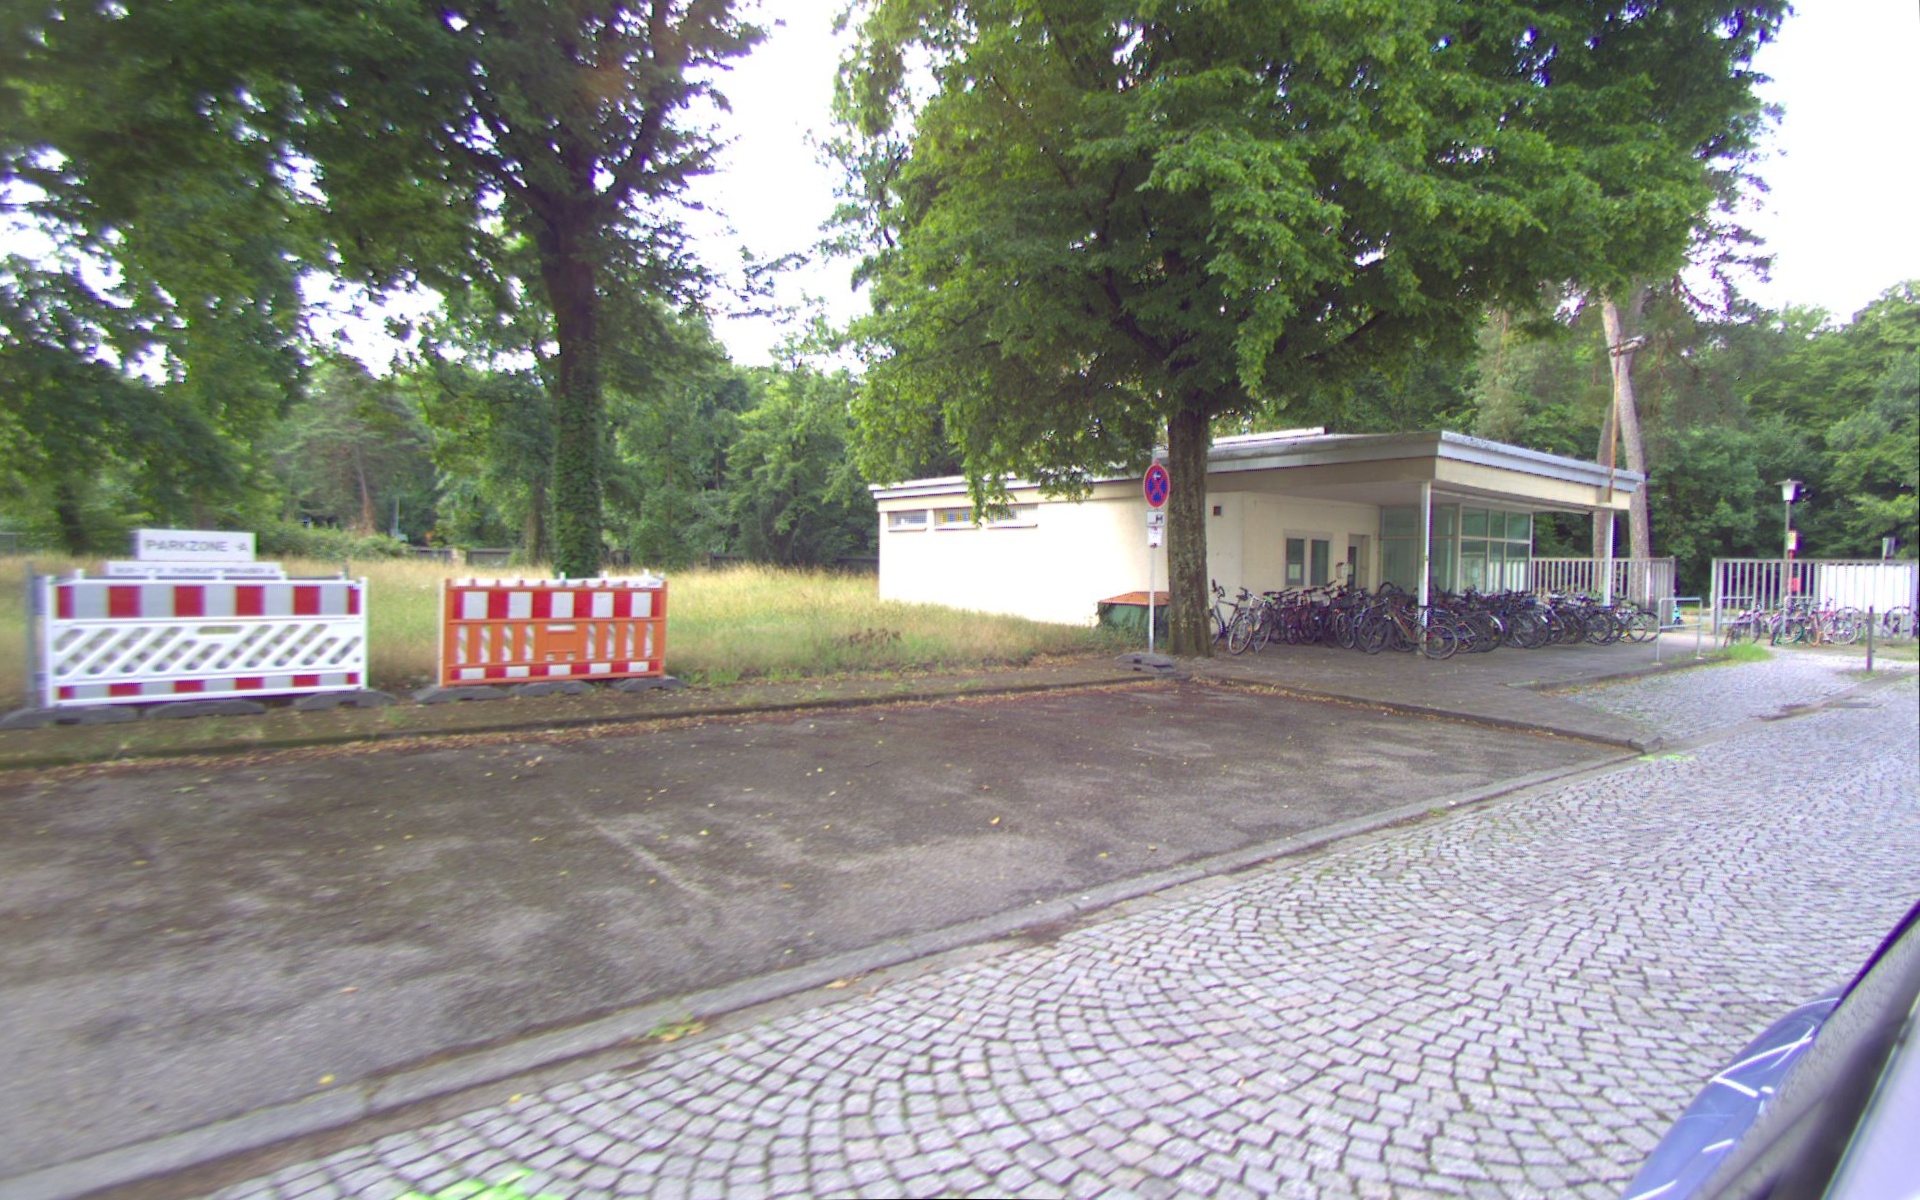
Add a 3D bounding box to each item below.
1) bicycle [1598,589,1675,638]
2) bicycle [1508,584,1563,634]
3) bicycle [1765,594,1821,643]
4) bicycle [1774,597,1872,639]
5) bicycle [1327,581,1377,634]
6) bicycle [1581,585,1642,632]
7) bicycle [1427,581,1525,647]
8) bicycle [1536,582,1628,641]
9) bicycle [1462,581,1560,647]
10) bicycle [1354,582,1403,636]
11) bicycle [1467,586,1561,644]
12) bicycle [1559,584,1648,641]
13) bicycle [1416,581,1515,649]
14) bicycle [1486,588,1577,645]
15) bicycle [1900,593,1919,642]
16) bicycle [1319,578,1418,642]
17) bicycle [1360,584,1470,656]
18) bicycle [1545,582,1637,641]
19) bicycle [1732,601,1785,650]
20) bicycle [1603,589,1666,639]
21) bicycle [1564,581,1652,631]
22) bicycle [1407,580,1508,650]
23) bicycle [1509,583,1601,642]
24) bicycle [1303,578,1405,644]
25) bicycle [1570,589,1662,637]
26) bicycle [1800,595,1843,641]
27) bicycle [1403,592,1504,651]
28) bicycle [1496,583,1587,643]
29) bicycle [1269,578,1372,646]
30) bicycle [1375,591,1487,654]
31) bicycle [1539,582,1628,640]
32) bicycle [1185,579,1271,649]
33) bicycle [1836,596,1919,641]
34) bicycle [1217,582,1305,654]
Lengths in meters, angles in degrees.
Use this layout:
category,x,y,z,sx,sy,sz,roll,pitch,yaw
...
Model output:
category,x,y,z,sx,sy,sz,roll,pitch,yaw
bicycle,15.420,0.299,23.104,1.391,1.059,0.336,1,1,25
bicycle,13.429,0.199,23.588,1.800,1.089,0.491,0,3,-41
bicycle,19.252,0.402,23.392,1.537,1.075,0.692,0,2,-39
bicycle,22.443,0.452,26.338,0.495,0.950,1.864,0,3,-44
bicycle,8.609,0.141,22.198,0.478,1.089,1.658,4,3,39
bicycle,16.610,0.213,25.790,1.648,1.152,0.649,0,2,-33
bicycle,10.235,0.258,20.107,1.627,1.204,0.414,4,3,39
bicycle,13.374,0.235,21.801,1.613,1.155,0.320,5,3,44
bicycle,11.058,0.253,20.344,1.627,1.204,0.492,4,3,39
bicycle,9.017,0.180,21.797,0.478,1.089,1.658,4,3,39
bicycle,11.392,0.296,20.859,1.626,1.062,0.330,4,3,37
bicycle,14.480,0.264,22.801,1.613,1.155,0.350,5,3,44
bicycle,9.806,0.265,19.681,1.627,1.204,0.414,4,3,39
bicycle,11.951,0.323,21.206,1.592,1.062,0.320,5,3,44
bicycle,25.656,0.491,26.357,1.650,1.245,0.737,4,3,44
bicycle,8.358,0.179,20.772,0.598,1.179,1.743,0,3,-43
bicycle,7.879,0.330,17.584,1.673,1.122,0.334,4,3,38
bicycle,13.699,0.231,22.000,1.613,1.155,0.320,5,3,44
bicycle,17.065,0.533,21.628,1.625,0.964,0.535,-1,3,-39
bicycle,15.180,0.304,22.796,1.144,1.076,0.284,2,1,31
bicycle,15.562,0.139,24.326,1.711,1.146,0.473,1,1,7
bicycle,9.457,0.266,19.266,1.627,1.204,0.467,4,3,38
bicycle,12.812,0.247,21.826,1.613,1.155,0.320,5,3,44
bicycle,7.780,0.192,20.051,0.598,1.179,1.743,0,3,-43
bicycle,15.388,0.300,23.772,1.723,1.059,0.453,1,1,13
bicycle,20.946,0.417,24.597,1.701,1.070,0.474,0,2,-39
bicycle,9.112,0.383,18.730,1.615,0.988,0.320,3,2,21
bicycle,12.284,0.254,21.431,1.592,1.155,0.320,5,3,44
bicycle,6.921,0.202,19.507,0.598,1.179,1.743,0,3,-43
bicycle,8.468,0.387,18.268,1.725,0.988,0.754,3,3,21
bicycle,13.840,0.225,22.498,1.613,1.155,0.350,5,3,44
bicycle,4.671,0.225,17.592,1.606,1.130,0.598,0,3,-41
bicycle,23.697,0.467,26.002,0.380,1.046,1.731,0,3,-37
bicycle,5.100,0.287,17.104,1.606,1.130,0.598,0,3,-41
